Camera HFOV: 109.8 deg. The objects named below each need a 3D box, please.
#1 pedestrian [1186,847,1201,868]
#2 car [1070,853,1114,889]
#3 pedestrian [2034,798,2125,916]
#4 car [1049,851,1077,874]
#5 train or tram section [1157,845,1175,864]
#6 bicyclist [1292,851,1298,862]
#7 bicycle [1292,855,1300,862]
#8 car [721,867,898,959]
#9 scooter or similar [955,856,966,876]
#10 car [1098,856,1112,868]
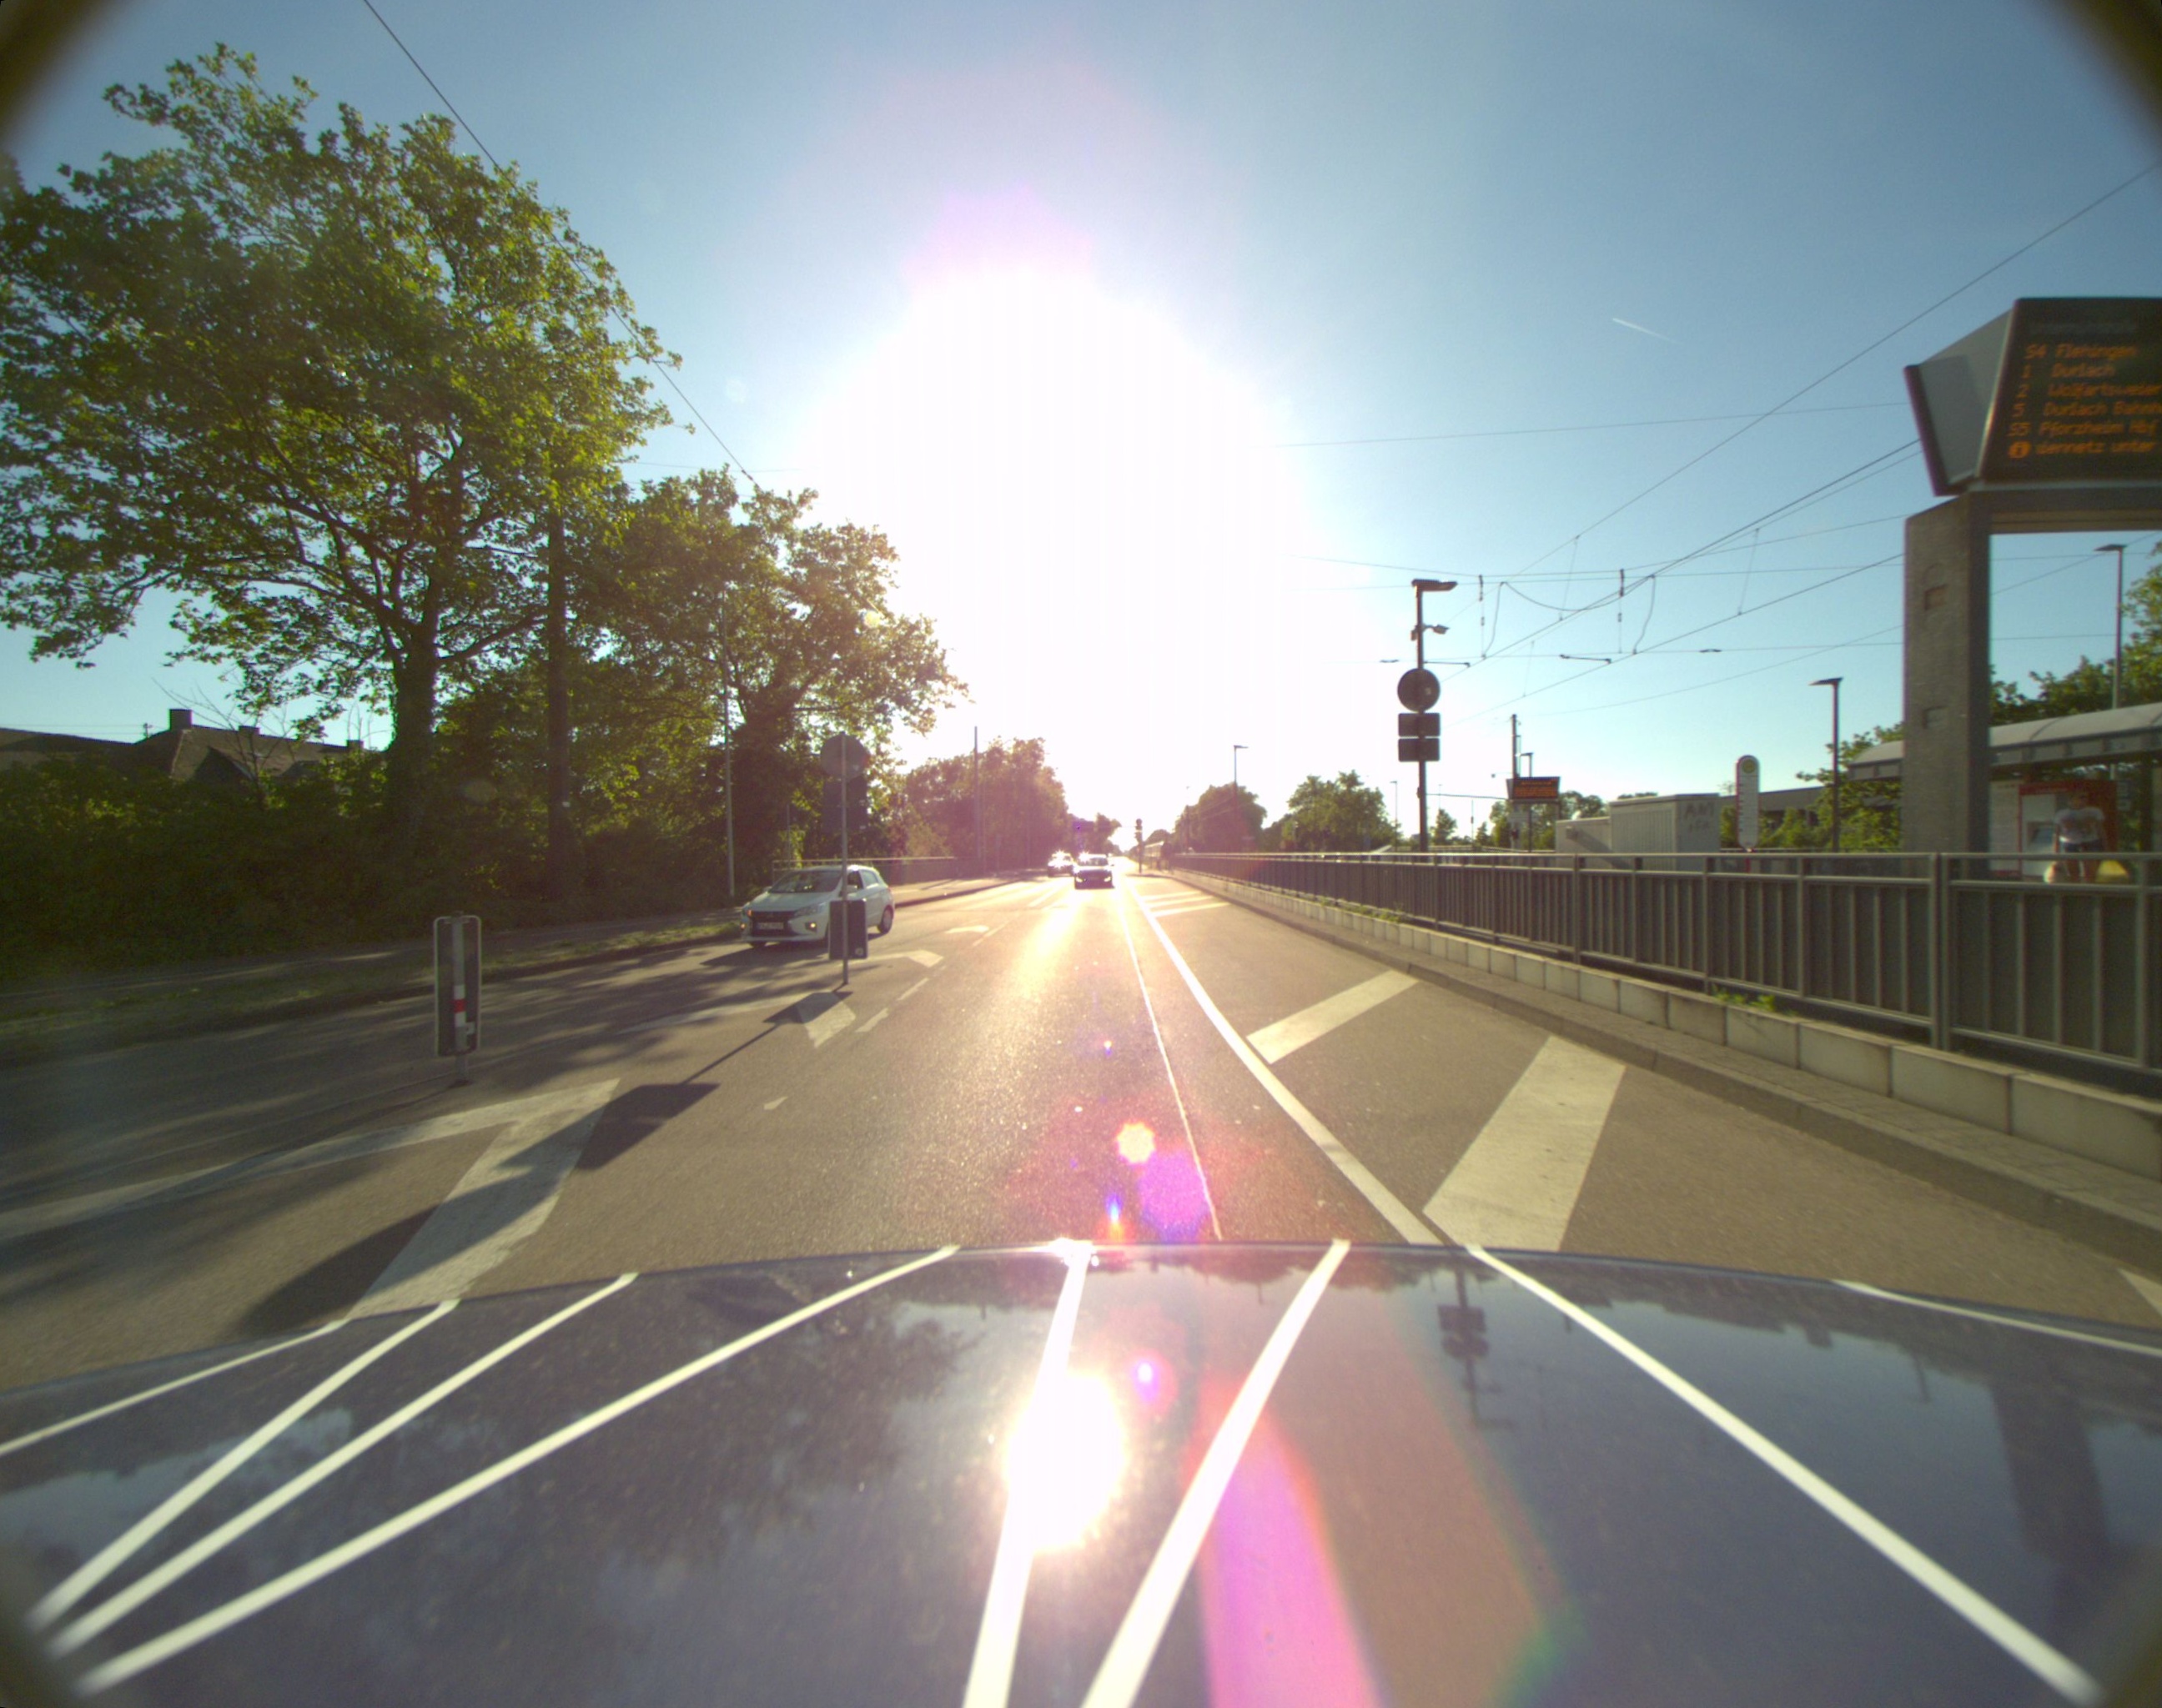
[{"bbox_3d":[8.637,0.262,58.249,0.892,1.635,0.986,-1,1,-7],"label":"pedestrian"},{"bbox_3d":[0.559,0.751,34.596,1.786,1.529,4.001,-1,0,3],"label":"car"},{"bbox_3d":[15.365,0.037,11.699,0.589,1.746,0.700,-2,1,-20],"label":"pedestrian"},{"bbox_3d":[-1.315,0.592,56.298,1.824,1.608,4.000,-1,0,1],"label":"car"},{"bbox_3d":[17.939,0.136,161.876,2.891,3.924,12.113,-1,0,2],"label":"train or tram section"},{"bbox_3d":[33.847,0.380,119.988,0.770,1.608,0.835,-1,1,3],"label":"bicyclist"},{"bbox_3d":[33.898,0.682,120.022,0.632,1.121,2.528,-1,0,2],"label":"bicycle"},{"bbox_3d":[-5.154,1.056,15.008,1.670,1.465,3.746,-2,0,8],"label":"car"},{"bbox_3d":[-7.661,0.757,48.289,0.427,1.267,1.083,-1,0,2],"label":"scooter or similar"},{"bbox_3d":[3.302,1.107,103.933,1.784,1.586,4.000,-1,0,2],"label":"car"}]
